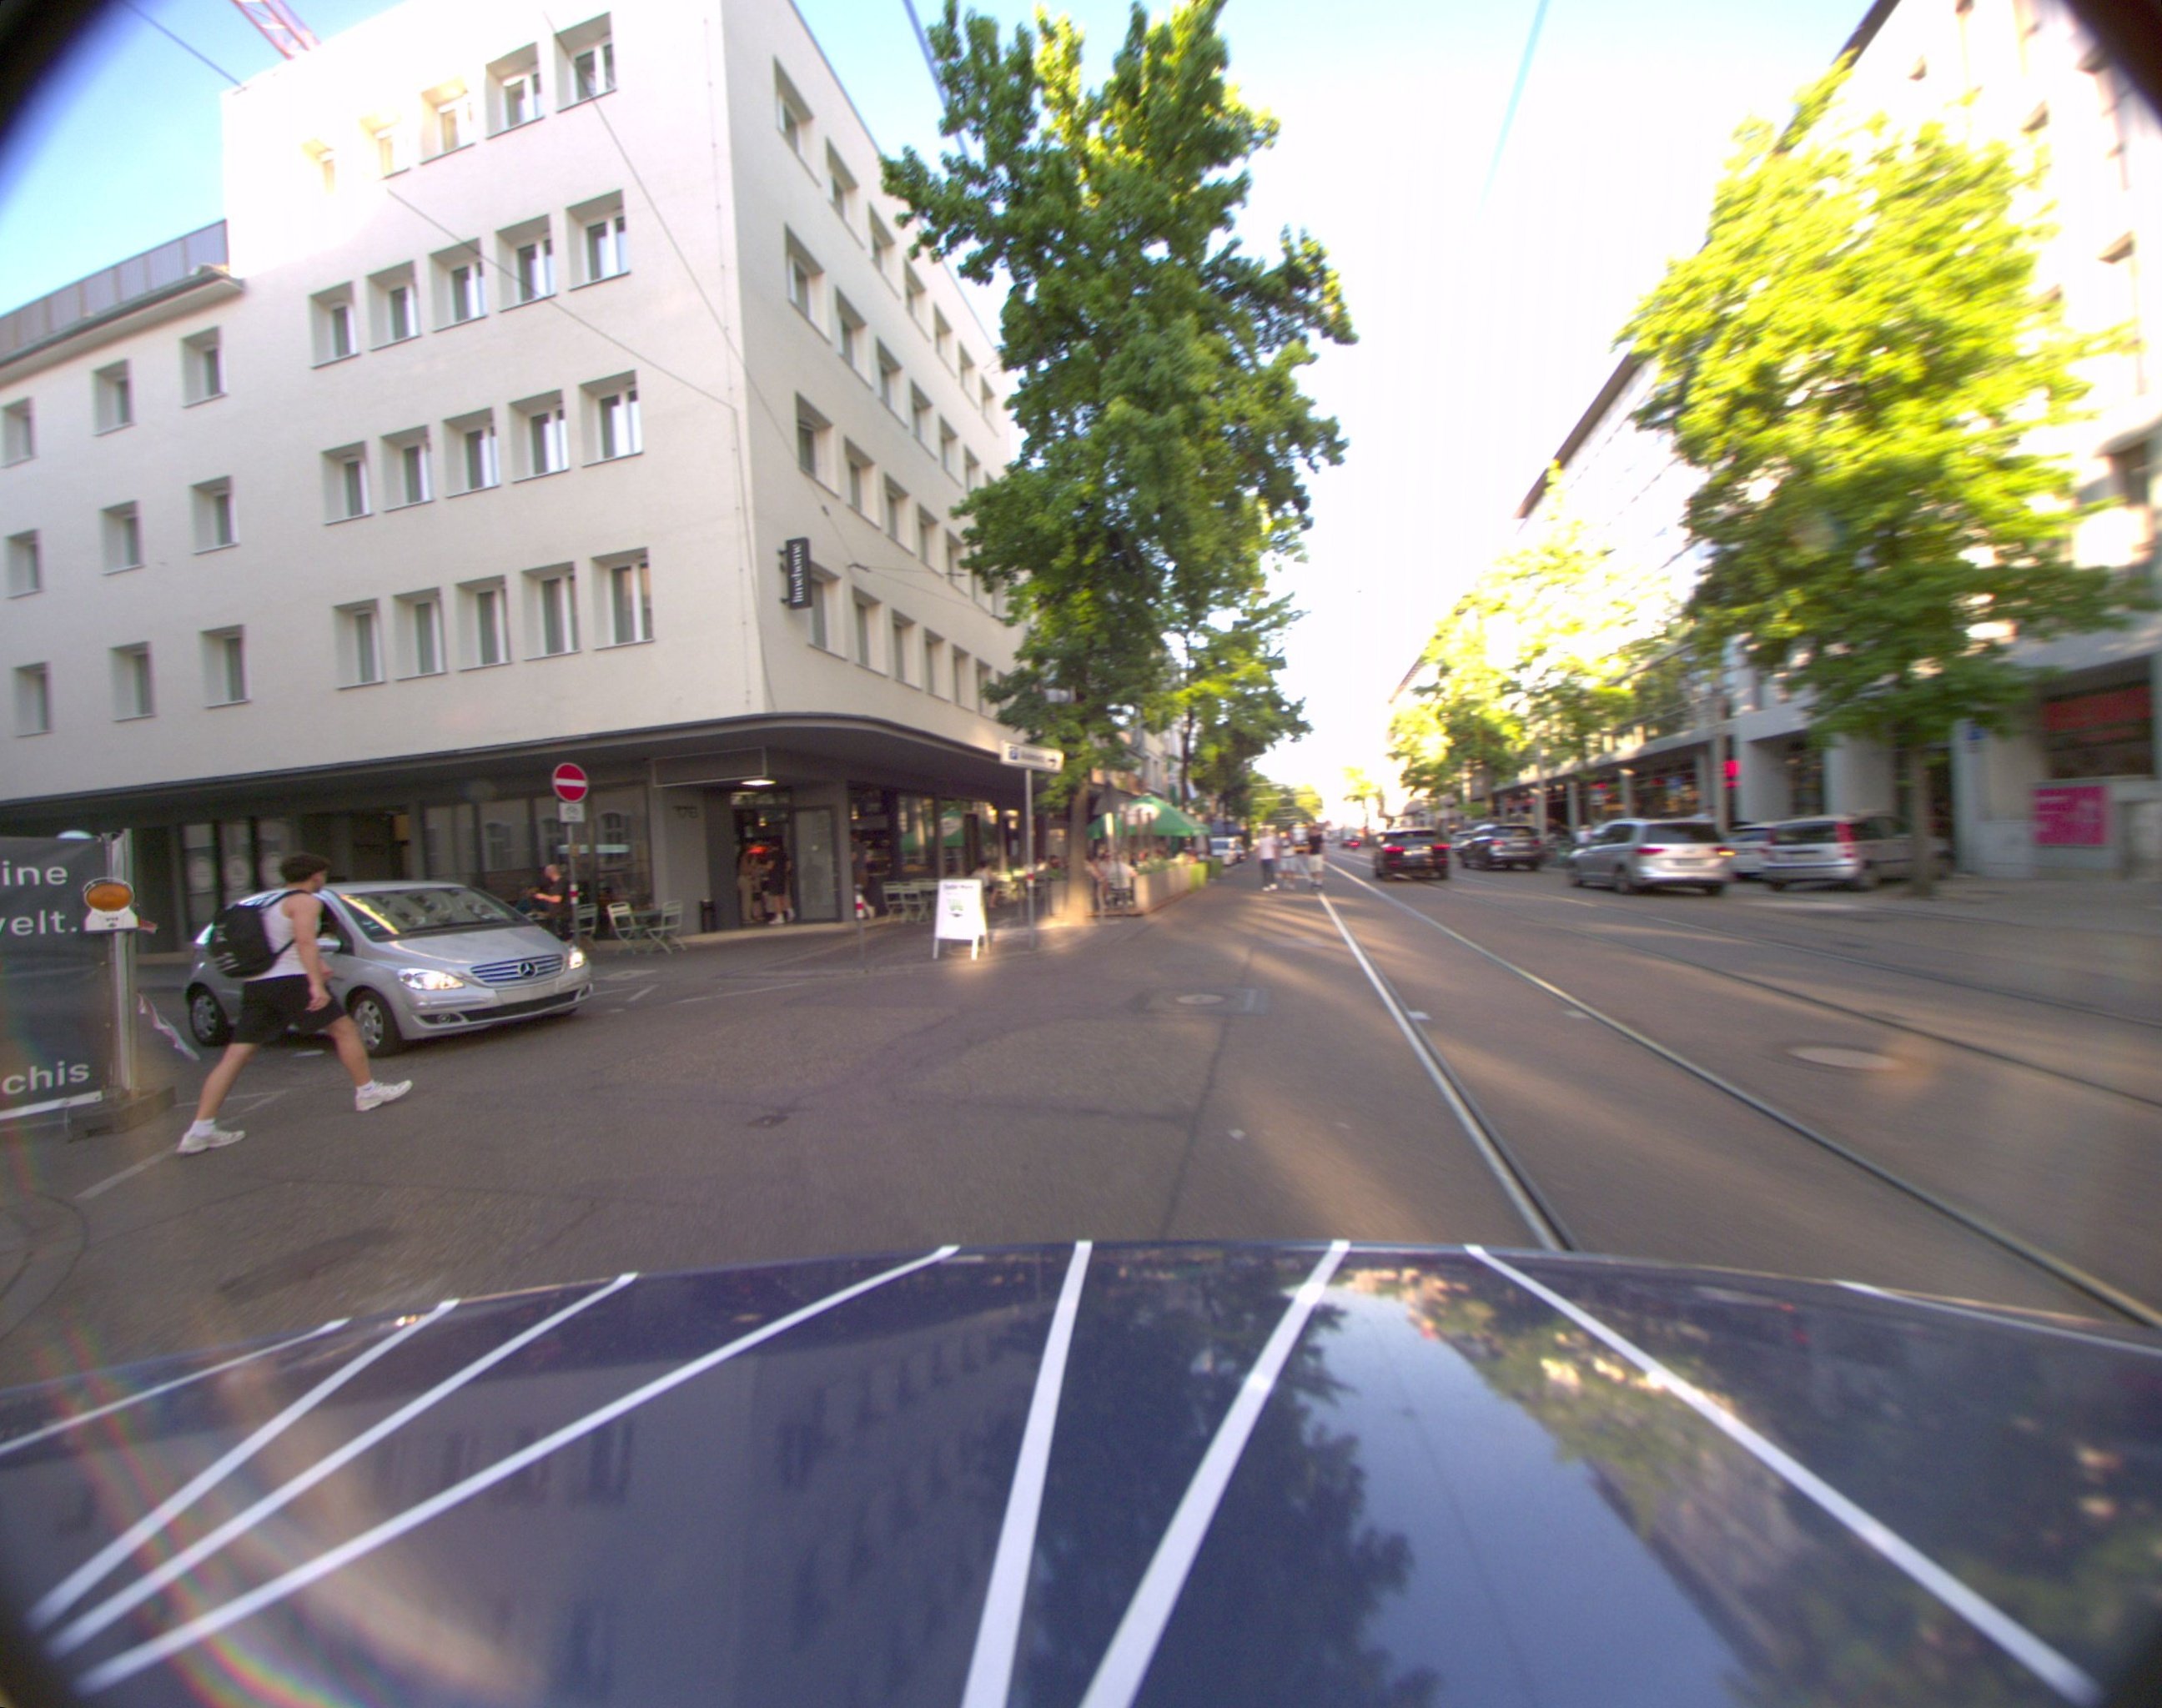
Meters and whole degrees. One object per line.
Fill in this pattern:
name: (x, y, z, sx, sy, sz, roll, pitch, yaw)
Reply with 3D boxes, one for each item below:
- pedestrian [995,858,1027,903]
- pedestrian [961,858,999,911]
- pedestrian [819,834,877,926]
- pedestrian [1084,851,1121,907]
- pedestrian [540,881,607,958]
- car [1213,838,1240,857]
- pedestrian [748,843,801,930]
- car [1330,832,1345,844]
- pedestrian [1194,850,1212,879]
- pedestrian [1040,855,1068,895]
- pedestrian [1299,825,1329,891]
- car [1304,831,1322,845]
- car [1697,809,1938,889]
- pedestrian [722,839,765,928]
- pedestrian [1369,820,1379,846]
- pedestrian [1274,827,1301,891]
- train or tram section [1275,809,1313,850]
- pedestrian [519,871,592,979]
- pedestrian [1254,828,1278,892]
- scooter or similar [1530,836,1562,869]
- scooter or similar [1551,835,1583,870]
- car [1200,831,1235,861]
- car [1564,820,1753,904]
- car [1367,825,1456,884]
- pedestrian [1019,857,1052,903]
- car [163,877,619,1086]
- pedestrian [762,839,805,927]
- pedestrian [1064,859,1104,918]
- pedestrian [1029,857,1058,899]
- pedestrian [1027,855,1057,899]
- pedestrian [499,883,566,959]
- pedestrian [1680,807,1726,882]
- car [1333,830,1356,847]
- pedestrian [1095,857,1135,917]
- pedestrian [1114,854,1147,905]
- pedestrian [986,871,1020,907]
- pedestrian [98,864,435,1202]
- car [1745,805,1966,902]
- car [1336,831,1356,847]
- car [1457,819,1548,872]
pedestrian: (-2.092, 0.796, 22.878, 0.716, 1.321, 0.624, -3, 0, 17)
pedestrian: (-2.636, 0.787, 19.909, 0.716, 1.321, 0.624, -3, 0, 17)
pedestrian: (-4.956, 0.550, 16.195, 0.726, 1.898, 0.803, -3, 1, 28)
pedestrian: (0.533, 0.608, 18.633, 0.716, 1.321, 0.624, -3, 0, 17)
pedestrian: (-9.219, 1.179, 13.827, 0.623, 1.321, 0.718, -3, 0, 17)
car: (10.566, -0.470, 55.166, 1.713, 1.317, 3.597, -3, 0, 13)
pedestrian: (-6.441, 0.675, 15.993, 0.622, 1.756, 0.718, -2, 1, 35)
car: (40.395, -2.486, 119.566, 1.996, 1.871, 4.004, -3, 0, 16)
pedestrian: (5.856, 0.489, 36.428, 0.716, 1.321, 0.624, -3, 0, 17)
pedestrian: (-0.898, 0.699, 25.748, 0.716, 1.321, 0.624, -3, 0, 17)
pedestrian: (7.005, 0.124, 22.817, 0.771, 1.922, 0.874, -3, 0, 18)
car: (33.551, -2.284, 109.801, 2.215, 1.849, 4.004, -3, 0, 14)
car: (17.635, -0.125, 18.307, 4.316, 1.404, 1.577, -6, 1, -2)
pedestrian: (-7.417, 0.642, 16.711, 0.570, 1.898, 0.724, -3, 0, -6)
pedestrian: (24.510, -1.728, 63.534, 0.627, 2.171, 0.764, -3, 0, 13)
pedestrian: (6.370, 0.156, 23.389, 0.671, 1.922, 0.874, -3, 0, 18)
train or tram section: (24.095, -2.627, 86.085, 3.603, 3.974, 15.733, -3, 0, 16)
pedestrian: (-8.398, 1.107, 12.148, 0.622, 1.626, 0.718, -2, 1, 35)
pedestrian: (5.712, 0.188, 23.431, 0.597, 1.922, 0.874, -3, 0, 18)
scooter or similar: (18.275, -0.077, 29.891, 0.579, 1.241, 2.128, -3, 0, 18)
scooter or similar: (17.809, -0.057, 27.868, 0.542, 1.241, 1.685, -3, 0, 18)
car: (8.845, -0.536, 49.003, 2.001, 1.831, 4.971, -1, 1, 13)
car: (12.473, 0.141, 16.772, 1.887, 1.603, 4.205, -1, 1, 15)
car: (10.772, -0.007, 25.077, 2.037, 1.677, 4.205, -3, 0, 15)
pedestrian: (-1.352, 0.776, 22.638, 0.716, 1.321, 0.624, -3, 0, 17)
car: (-7.114, 1.180, 7.882, 3.934, 1.599, 1.869, -3, 2, 22)
pedestrian: (-6.662, 0.635, 17.047, 0.724, 1.898, 0.570, -3, 1, -13)
pedestrian: (0.069, 0.787, 17.604, 0.716, 1.321, 0.624, -3, 0, 17)
pedestrian: (-1.223, 0.772, 24.851, 0.716, 1.321, 0.624, -3, 0, 17)
pedestrian: (-1.235, 0.723, 23.942, 0.716, 1.321, 0.624, -3, 0, 17)
pedestrian: (-10.162, 1.226, 14.090, 0.623, 1.321, 0.718, -3, 0, 17)
pedestrian: (16.571, -0.251, 20.257, 0.655, 1.922, 0.724, -3, 0, 18)
car: (26.702, -1.542, 77.140, 1.713, 1.586, 4.004, -3, 0, 13)
pedestrian: (0.774, 0.752, 17.371, 0.716, 1.321, 0.624, -3, 0, 17)
pedestrian: (1.332, 0.691, 20.436, 0.716, 1.321, 0.624, -3, 0, 17)
pedestrian: (-2.169, 0.963, 21.118, 0.716, 0.927, 0.625, -3, 0, 17)
pedestrian: (-5.111, 1.021, 4.842, 0.944, 1.805, 1.072, -3, 2, 23)
car: (15.809, -0.019, 15.558, 3.402, 1.551, 1.787, -6, 1, -18)
car: (33.905, -1.864, 97.134, 1.996, 1.871, 4.004, -3, 0, 14)
car: (15.916, -0.330, 28.929, 2.036, 1.796, 4.205, -2, 0, 15)
